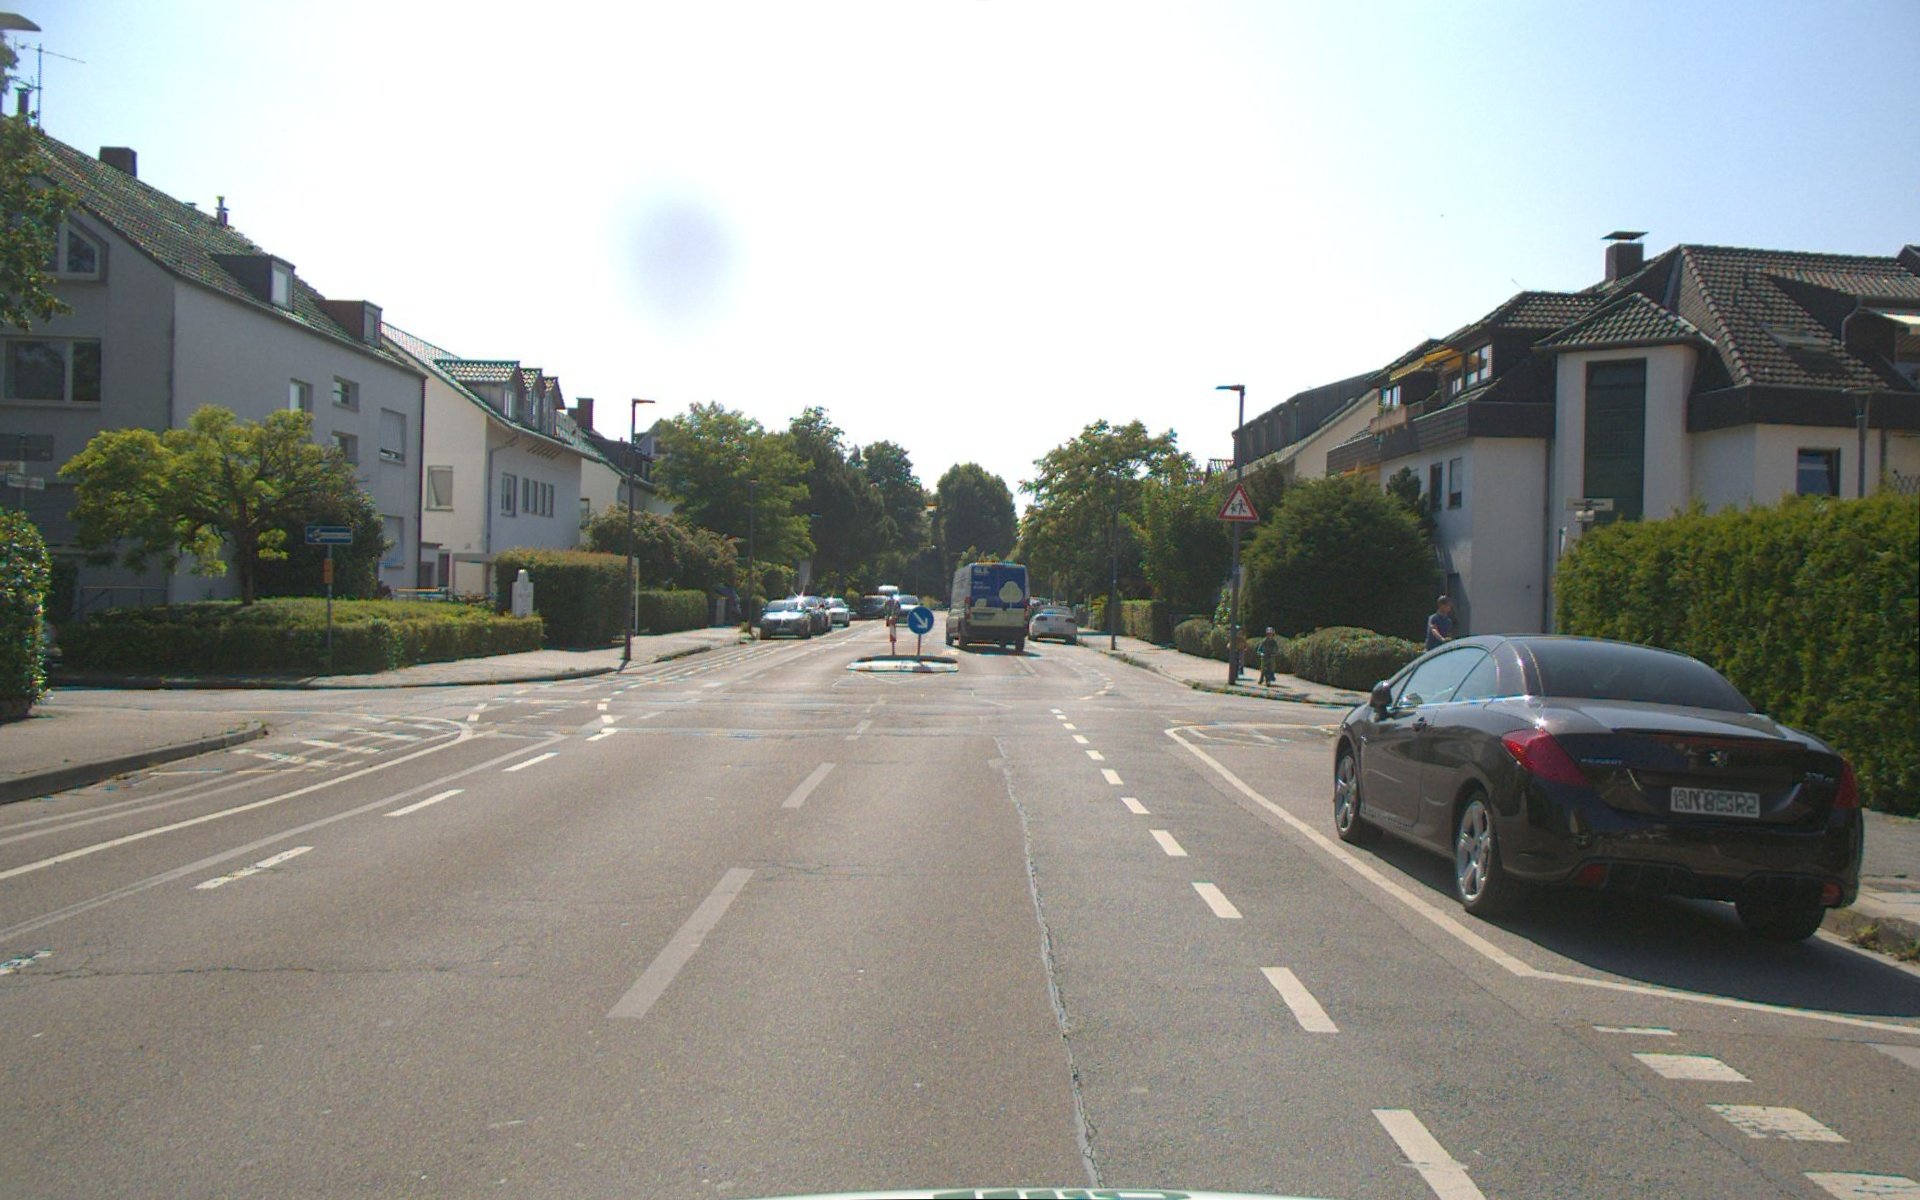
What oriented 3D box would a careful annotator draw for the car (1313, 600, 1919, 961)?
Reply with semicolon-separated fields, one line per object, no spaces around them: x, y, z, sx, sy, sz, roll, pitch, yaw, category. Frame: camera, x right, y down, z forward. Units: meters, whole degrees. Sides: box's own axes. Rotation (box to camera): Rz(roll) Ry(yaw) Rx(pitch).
3.452;0.815;9.573;1.702;1.494;4.344;4;0;-1;car

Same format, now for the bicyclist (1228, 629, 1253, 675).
5.964;1.097;35.196;0.390;0.950;0.608;1;-1;-3;bicyclist

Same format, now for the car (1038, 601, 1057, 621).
7.769;0.942;147.107;1.665;1.706;3.776;1;0;3;car

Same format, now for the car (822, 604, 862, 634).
-6.009;0.932;84.441;1.749;1.465;4.000;1;0;0;car

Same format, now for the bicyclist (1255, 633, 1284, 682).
6.127;1.129;32.761;0.393;0.946;0.657;1;-1;-3;bicyclist

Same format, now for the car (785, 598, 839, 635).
-6.055;0.667;67.976;1.748;1.465;4.111;0;0;1;car

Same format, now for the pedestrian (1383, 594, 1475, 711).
7.849;0.865;27.713;0.890;1.905;1.175;2;-1;-33;pedestrian

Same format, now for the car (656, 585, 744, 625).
-12.568;0.239;80.046;3.905;1.790;2.000;2;0;0;car

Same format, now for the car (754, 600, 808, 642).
-6.563;0.752;60.981;1.749;1.465;4.152;0;0;-3;car

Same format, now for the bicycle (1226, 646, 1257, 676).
5.984;1.292;35.174;0.393;0.610;1.150;1;0;-3;bicycle

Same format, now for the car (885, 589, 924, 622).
-2.909;0.281;87.515;1.875;1.696;4.506;0;-1;1;car

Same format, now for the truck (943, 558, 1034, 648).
0.832;0.108;51.438;2.229;2.616;4.385;1;-1;-7;truck

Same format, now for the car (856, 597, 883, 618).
-6.461;0.527;118.438;1.744;1.485;4.085;1;0;-1;car

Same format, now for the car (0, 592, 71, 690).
-15.717;0.571;25.143;3.421;1.437;1.726;1;-1;-1;car

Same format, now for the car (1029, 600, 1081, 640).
3.669;0.755;64.409;1.705;1.427;4.073;2;0;-1;car

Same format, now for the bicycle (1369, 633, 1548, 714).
8.091;1.173;26.917;2.654;1.178;0.861;1;-1;32;bicycle

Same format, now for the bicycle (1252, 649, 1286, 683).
6.114;1.297;32.733;0.393;0.610;1.173;1;0;-3;bicycle
